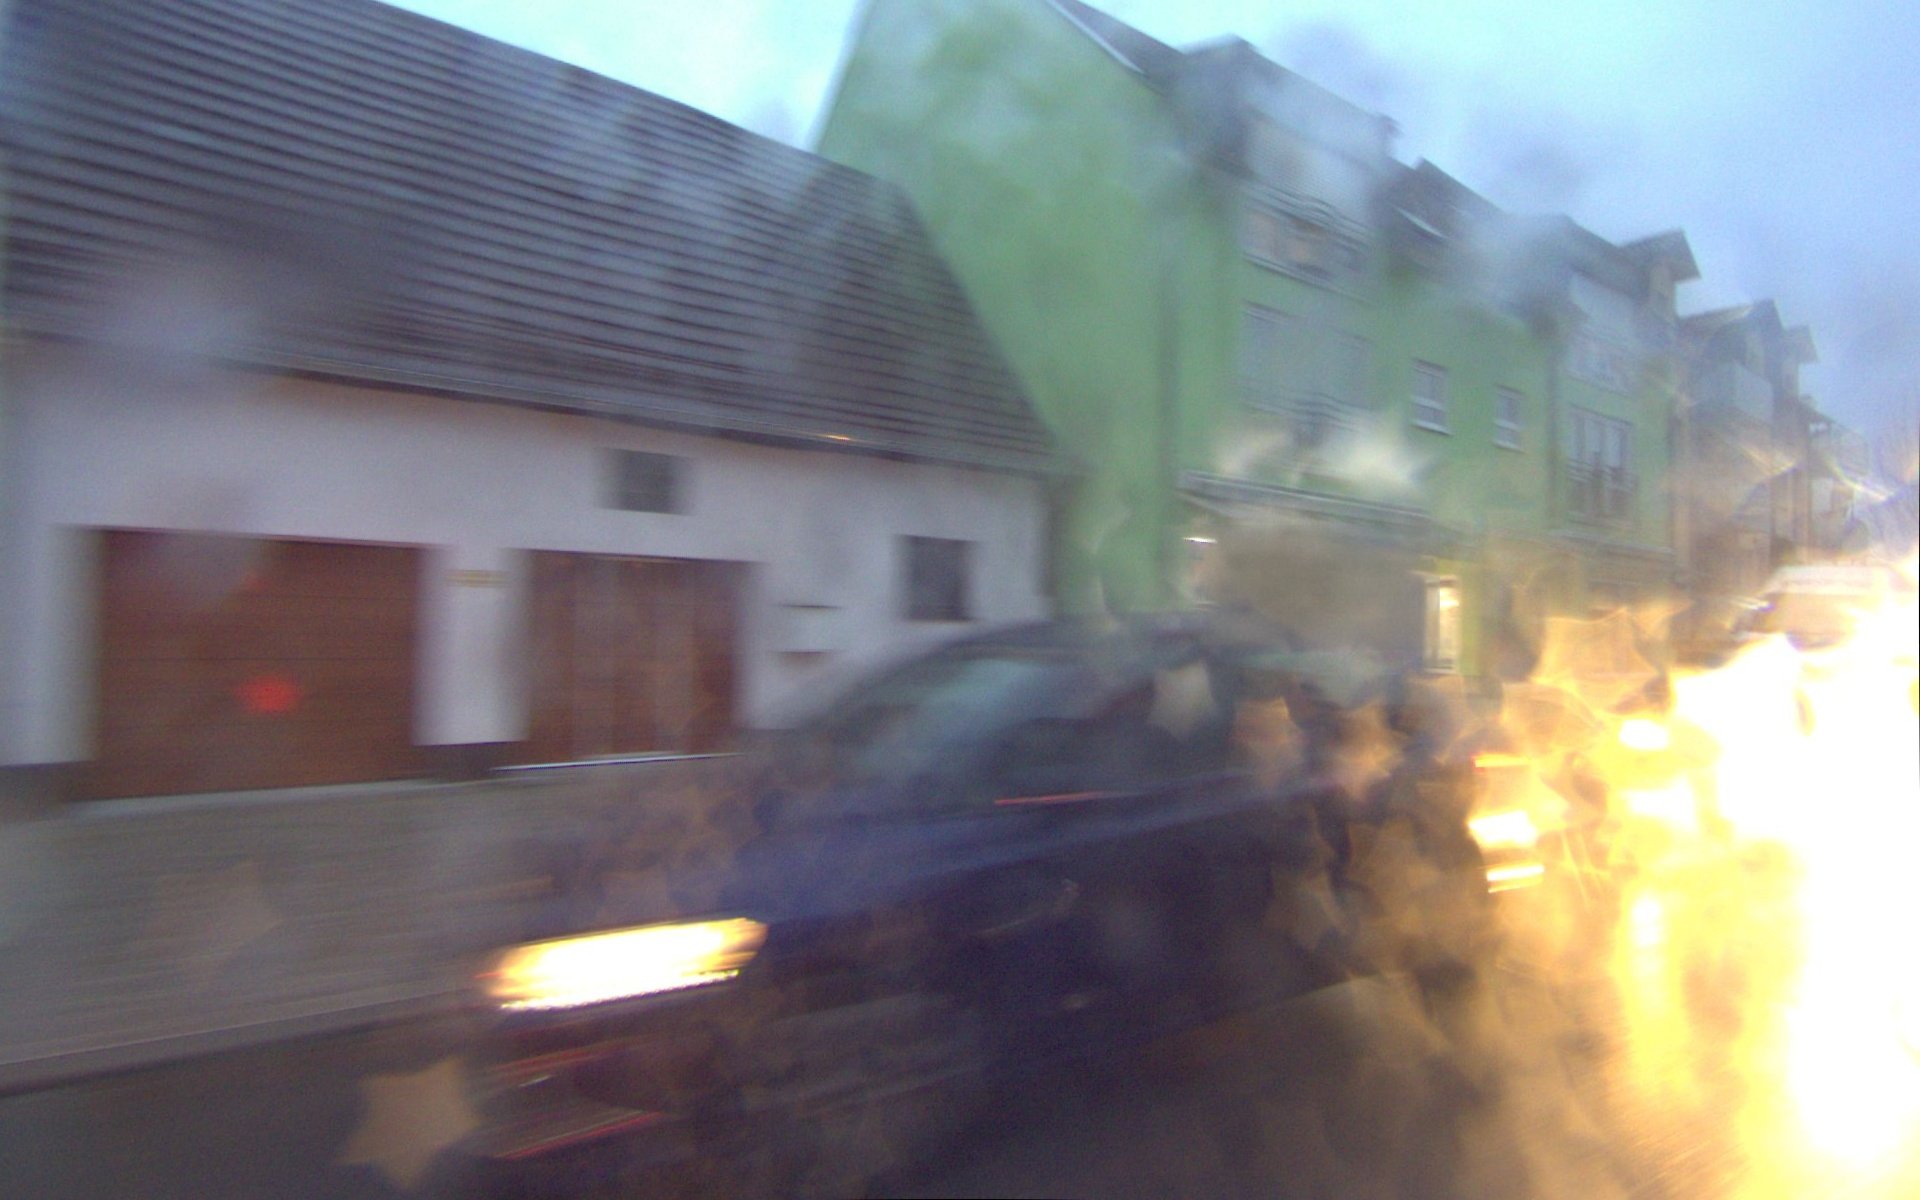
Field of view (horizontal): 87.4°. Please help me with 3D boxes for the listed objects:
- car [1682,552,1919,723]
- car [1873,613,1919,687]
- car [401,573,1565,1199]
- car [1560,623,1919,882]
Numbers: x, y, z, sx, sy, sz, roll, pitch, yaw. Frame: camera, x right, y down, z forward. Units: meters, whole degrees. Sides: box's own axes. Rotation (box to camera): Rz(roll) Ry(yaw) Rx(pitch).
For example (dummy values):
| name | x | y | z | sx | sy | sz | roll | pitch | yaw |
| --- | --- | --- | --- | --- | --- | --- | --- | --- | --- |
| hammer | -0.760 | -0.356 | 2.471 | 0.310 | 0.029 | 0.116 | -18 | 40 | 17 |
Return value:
| name | x | y | z | sx | sy | sz | roll | pitch | yaw |
| --- | --- | --- | --- | --- | --- | --- | --- | --- | --- |
| car | 15.885 | 0.668 | 18.157 | 6.692 | 2.594 | 2.470 | 2 | -1 | -34 |
| car | 26.465 | 1.338 | 27.076 | 5.258 | 1.868 | 1.977 | 2 | 0 | -39 |
| car | 0.299 | 0.825 | 3.901 | 4.211 | 1.576 | 1.847 | 2 | -3 | -33 |
| car | 7.038 | 1.000 | 8.315 | 4.213 | 1.576 | 1.981 | 0 | -1 | -34 |
